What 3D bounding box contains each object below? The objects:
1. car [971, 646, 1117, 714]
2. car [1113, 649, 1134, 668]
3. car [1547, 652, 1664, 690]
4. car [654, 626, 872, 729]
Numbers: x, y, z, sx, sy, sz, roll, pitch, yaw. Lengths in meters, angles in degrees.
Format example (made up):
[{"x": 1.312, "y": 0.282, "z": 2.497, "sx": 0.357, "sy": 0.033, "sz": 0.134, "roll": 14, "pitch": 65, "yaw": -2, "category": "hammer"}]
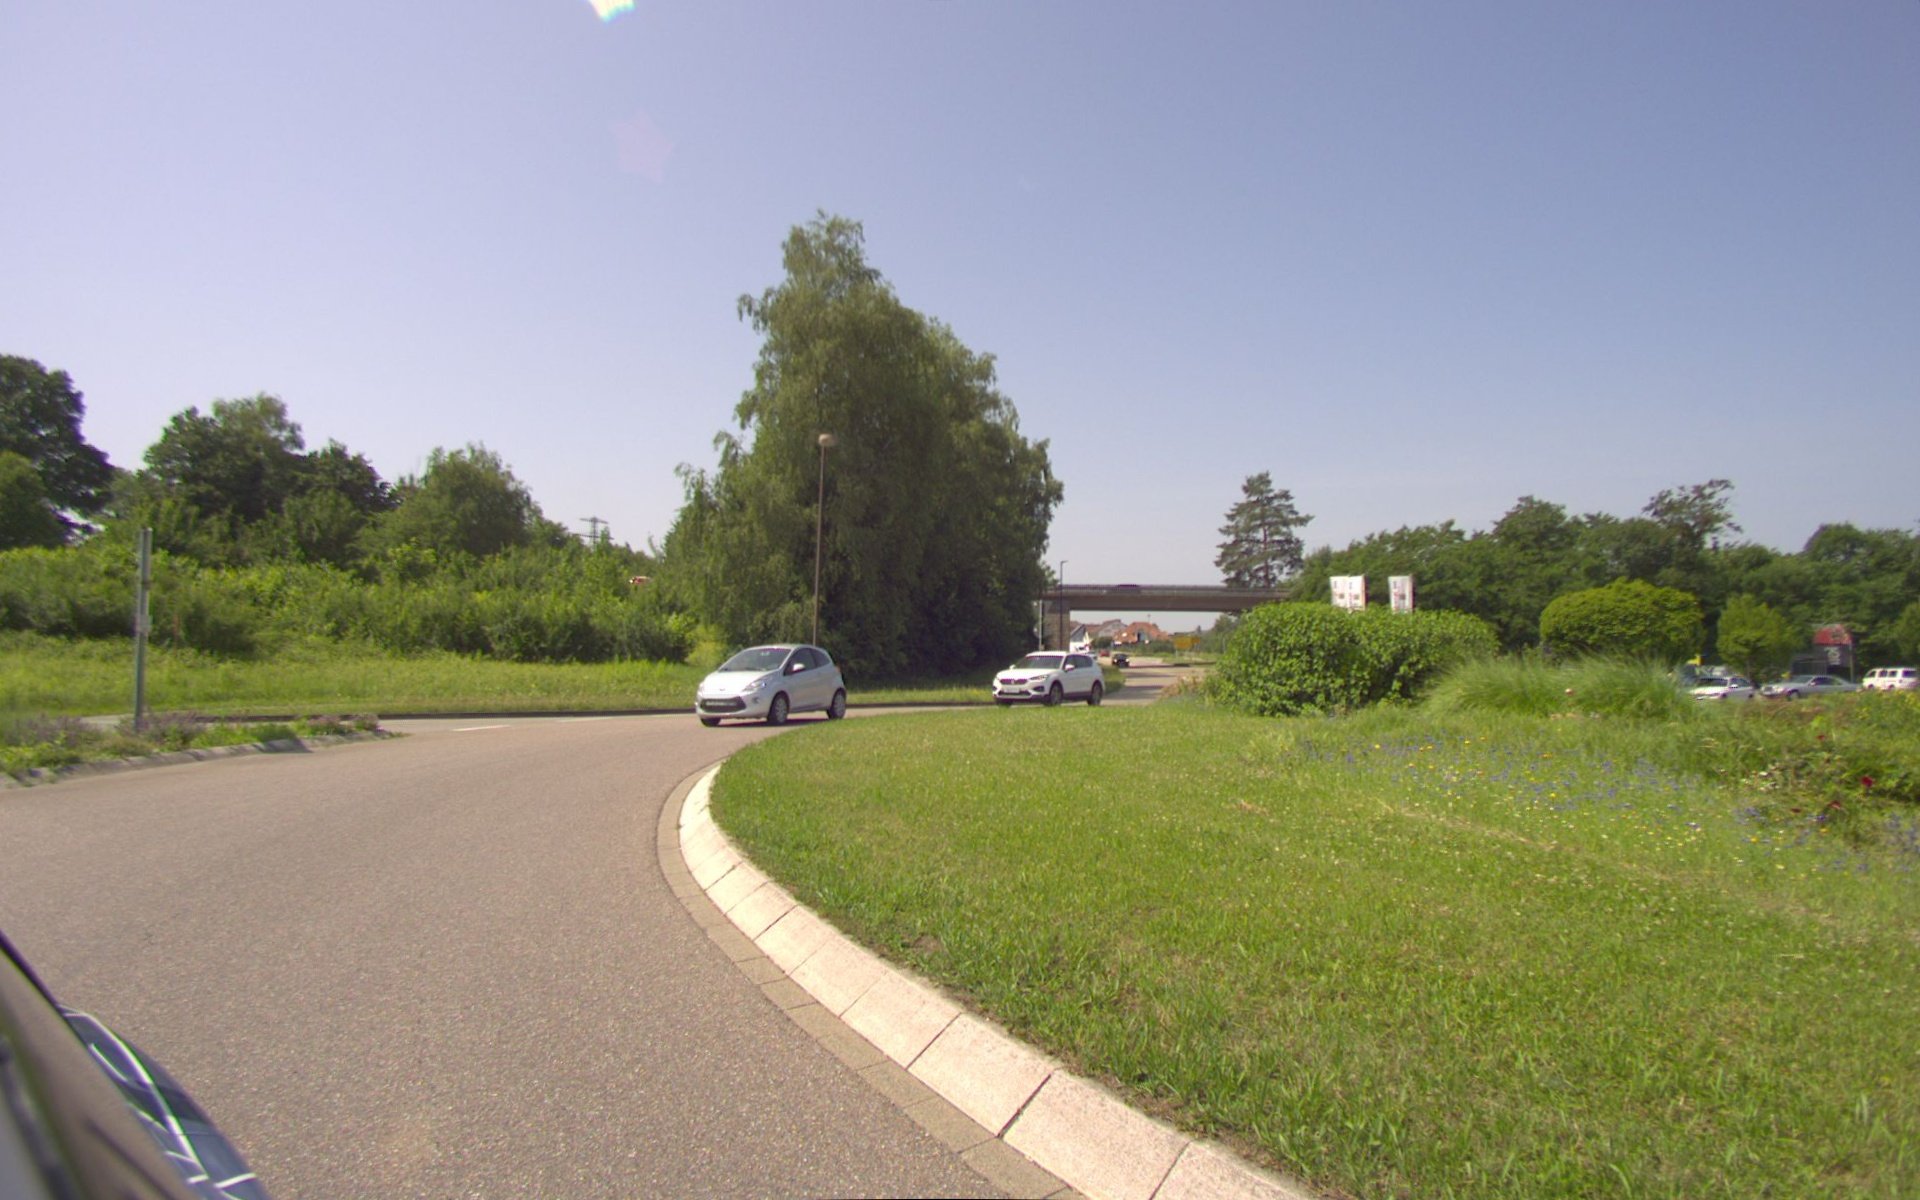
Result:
[{"x": 2.597, "y": 2.261, "z": 29.782, "sx": 2.191, "sy": 1.665, "sz": 5.065, "roll": 0, "pitch": -1, "yaw": 32, "category": "car"}, {"x": 17.002, "y": 6.068, "z": 105.450, "sx": 2.005, "sy": 1.665, "sz": 4.629, "roll": 1, "pitch": -1, "yaw": 7, "category": "car"}, {"x": 30.884, "y": 3.388, "z": 48.497, "sx": 4.346, "sy": 1.573, "sz": 1.875, "roll": 1, "pitch": -1, "yaw": 2, "category": "car"}, {"x": -3.624, "y": 1.381, "z": 19.418, "sx": 2.116, "sy": 1.628, "sz": 4.166, "roll": -1, "pitch": 0, "yaw": 24, "category": "car"}]
